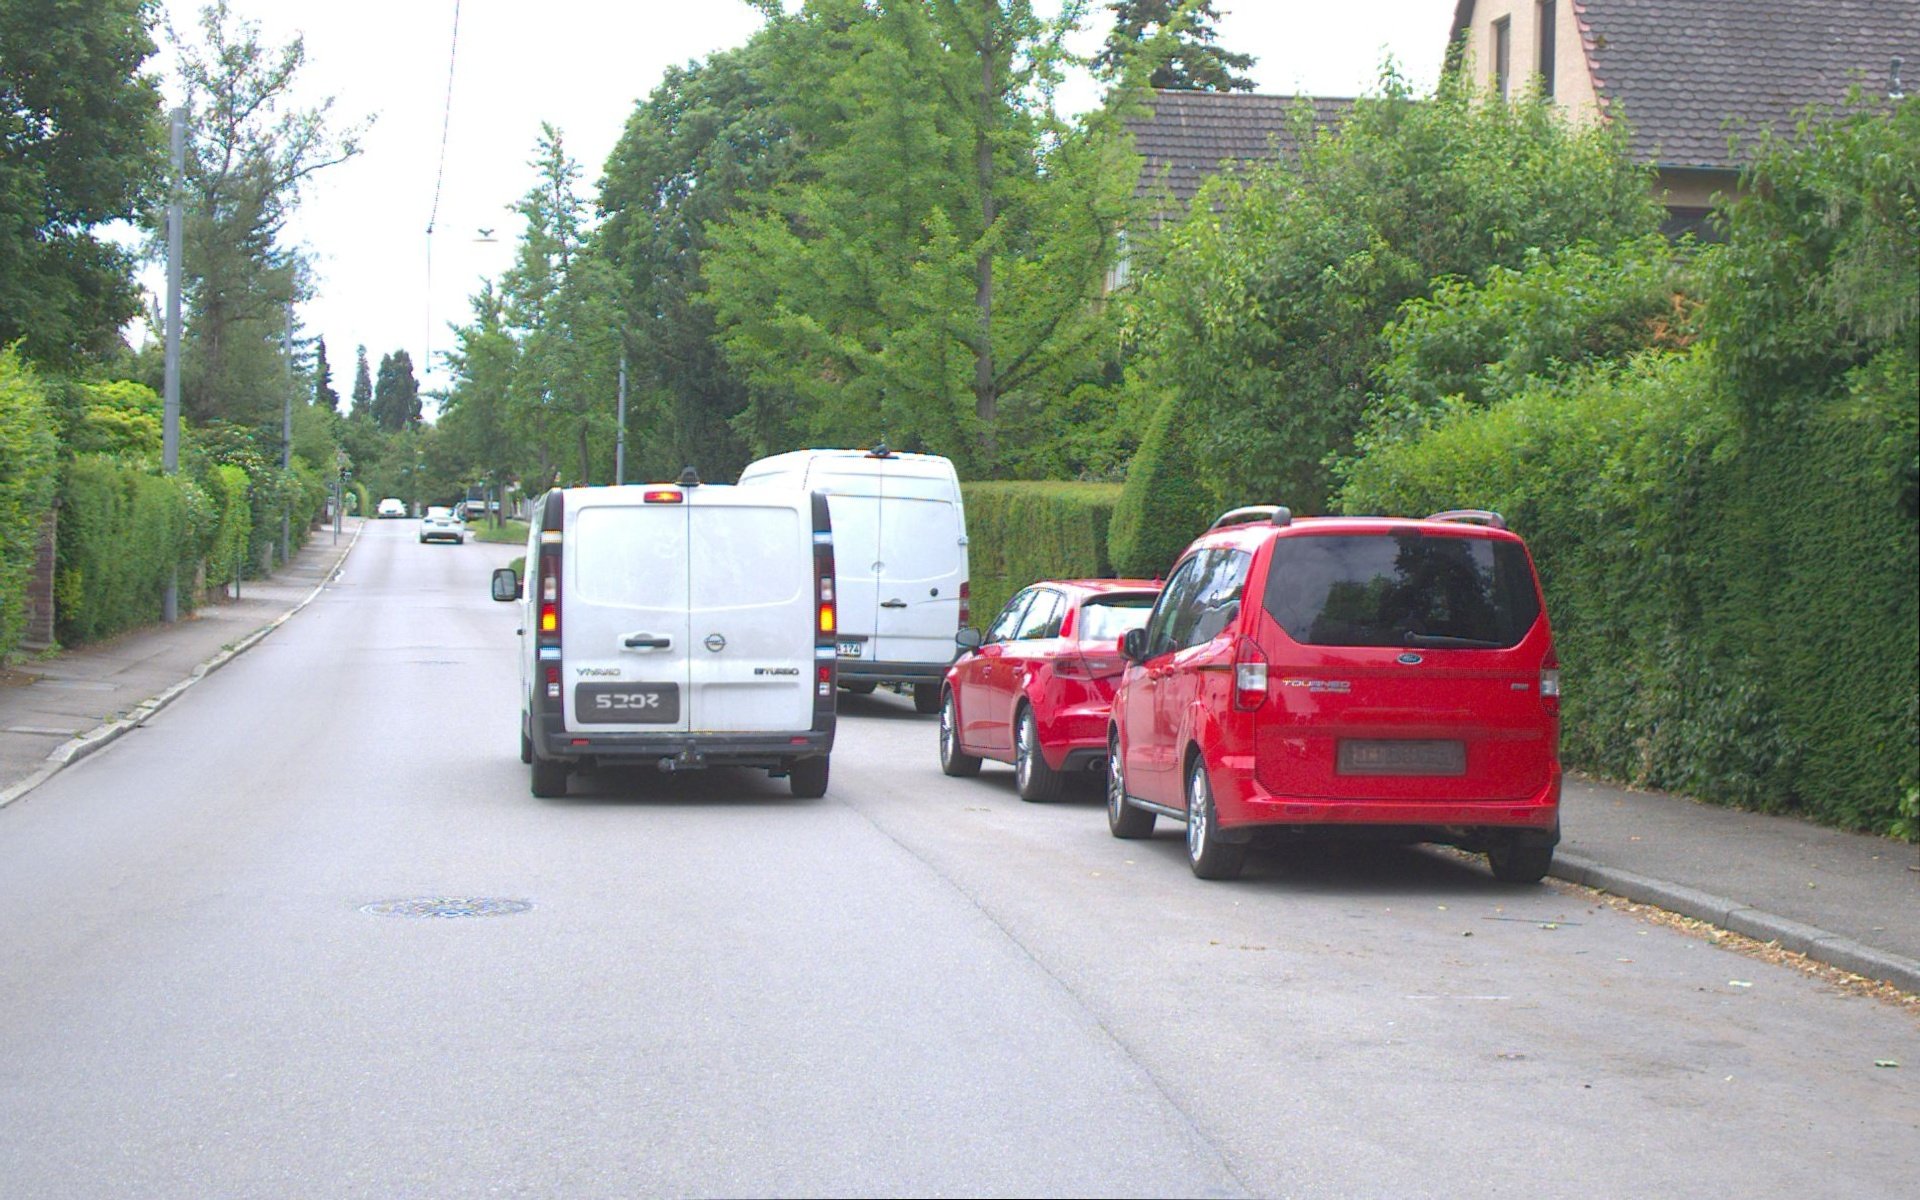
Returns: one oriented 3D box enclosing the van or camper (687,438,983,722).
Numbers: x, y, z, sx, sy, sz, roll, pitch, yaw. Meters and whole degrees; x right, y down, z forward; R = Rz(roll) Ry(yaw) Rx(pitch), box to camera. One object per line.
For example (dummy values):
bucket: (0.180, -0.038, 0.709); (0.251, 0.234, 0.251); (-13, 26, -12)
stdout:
van or camper: (-1.459, -0.227, 36.743); (2.066, 2.665, 6.330); (3, 0, -11)

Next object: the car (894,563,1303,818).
car: (0.815, 0.536, 23.092); (1.712, 1.462, 4.269); (2, 1, -12)

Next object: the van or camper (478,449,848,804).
van or camper: (-2.088, 0.063, 22.799); (1.923, 2.006, 4.831); (3, 2, -10)

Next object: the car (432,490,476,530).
car: (-23.225, -4.137, 157.693); (1.775, 1.645, 3.646); (2, 2, -11)

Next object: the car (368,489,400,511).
car: (-40.300, -6.995, 240.735); (1.689, 1.470, 3.582); (2, 1, -2)

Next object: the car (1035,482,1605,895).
car: (1.685, 0.367, 17.937); (1.760, 1.791, 4.950); (3, 1, -8)

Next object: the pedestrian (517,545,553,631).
pedestrian: (-7.843, -0.221, 63.488); (0.555, 1.554, 0.553); (2, 2, -12)
